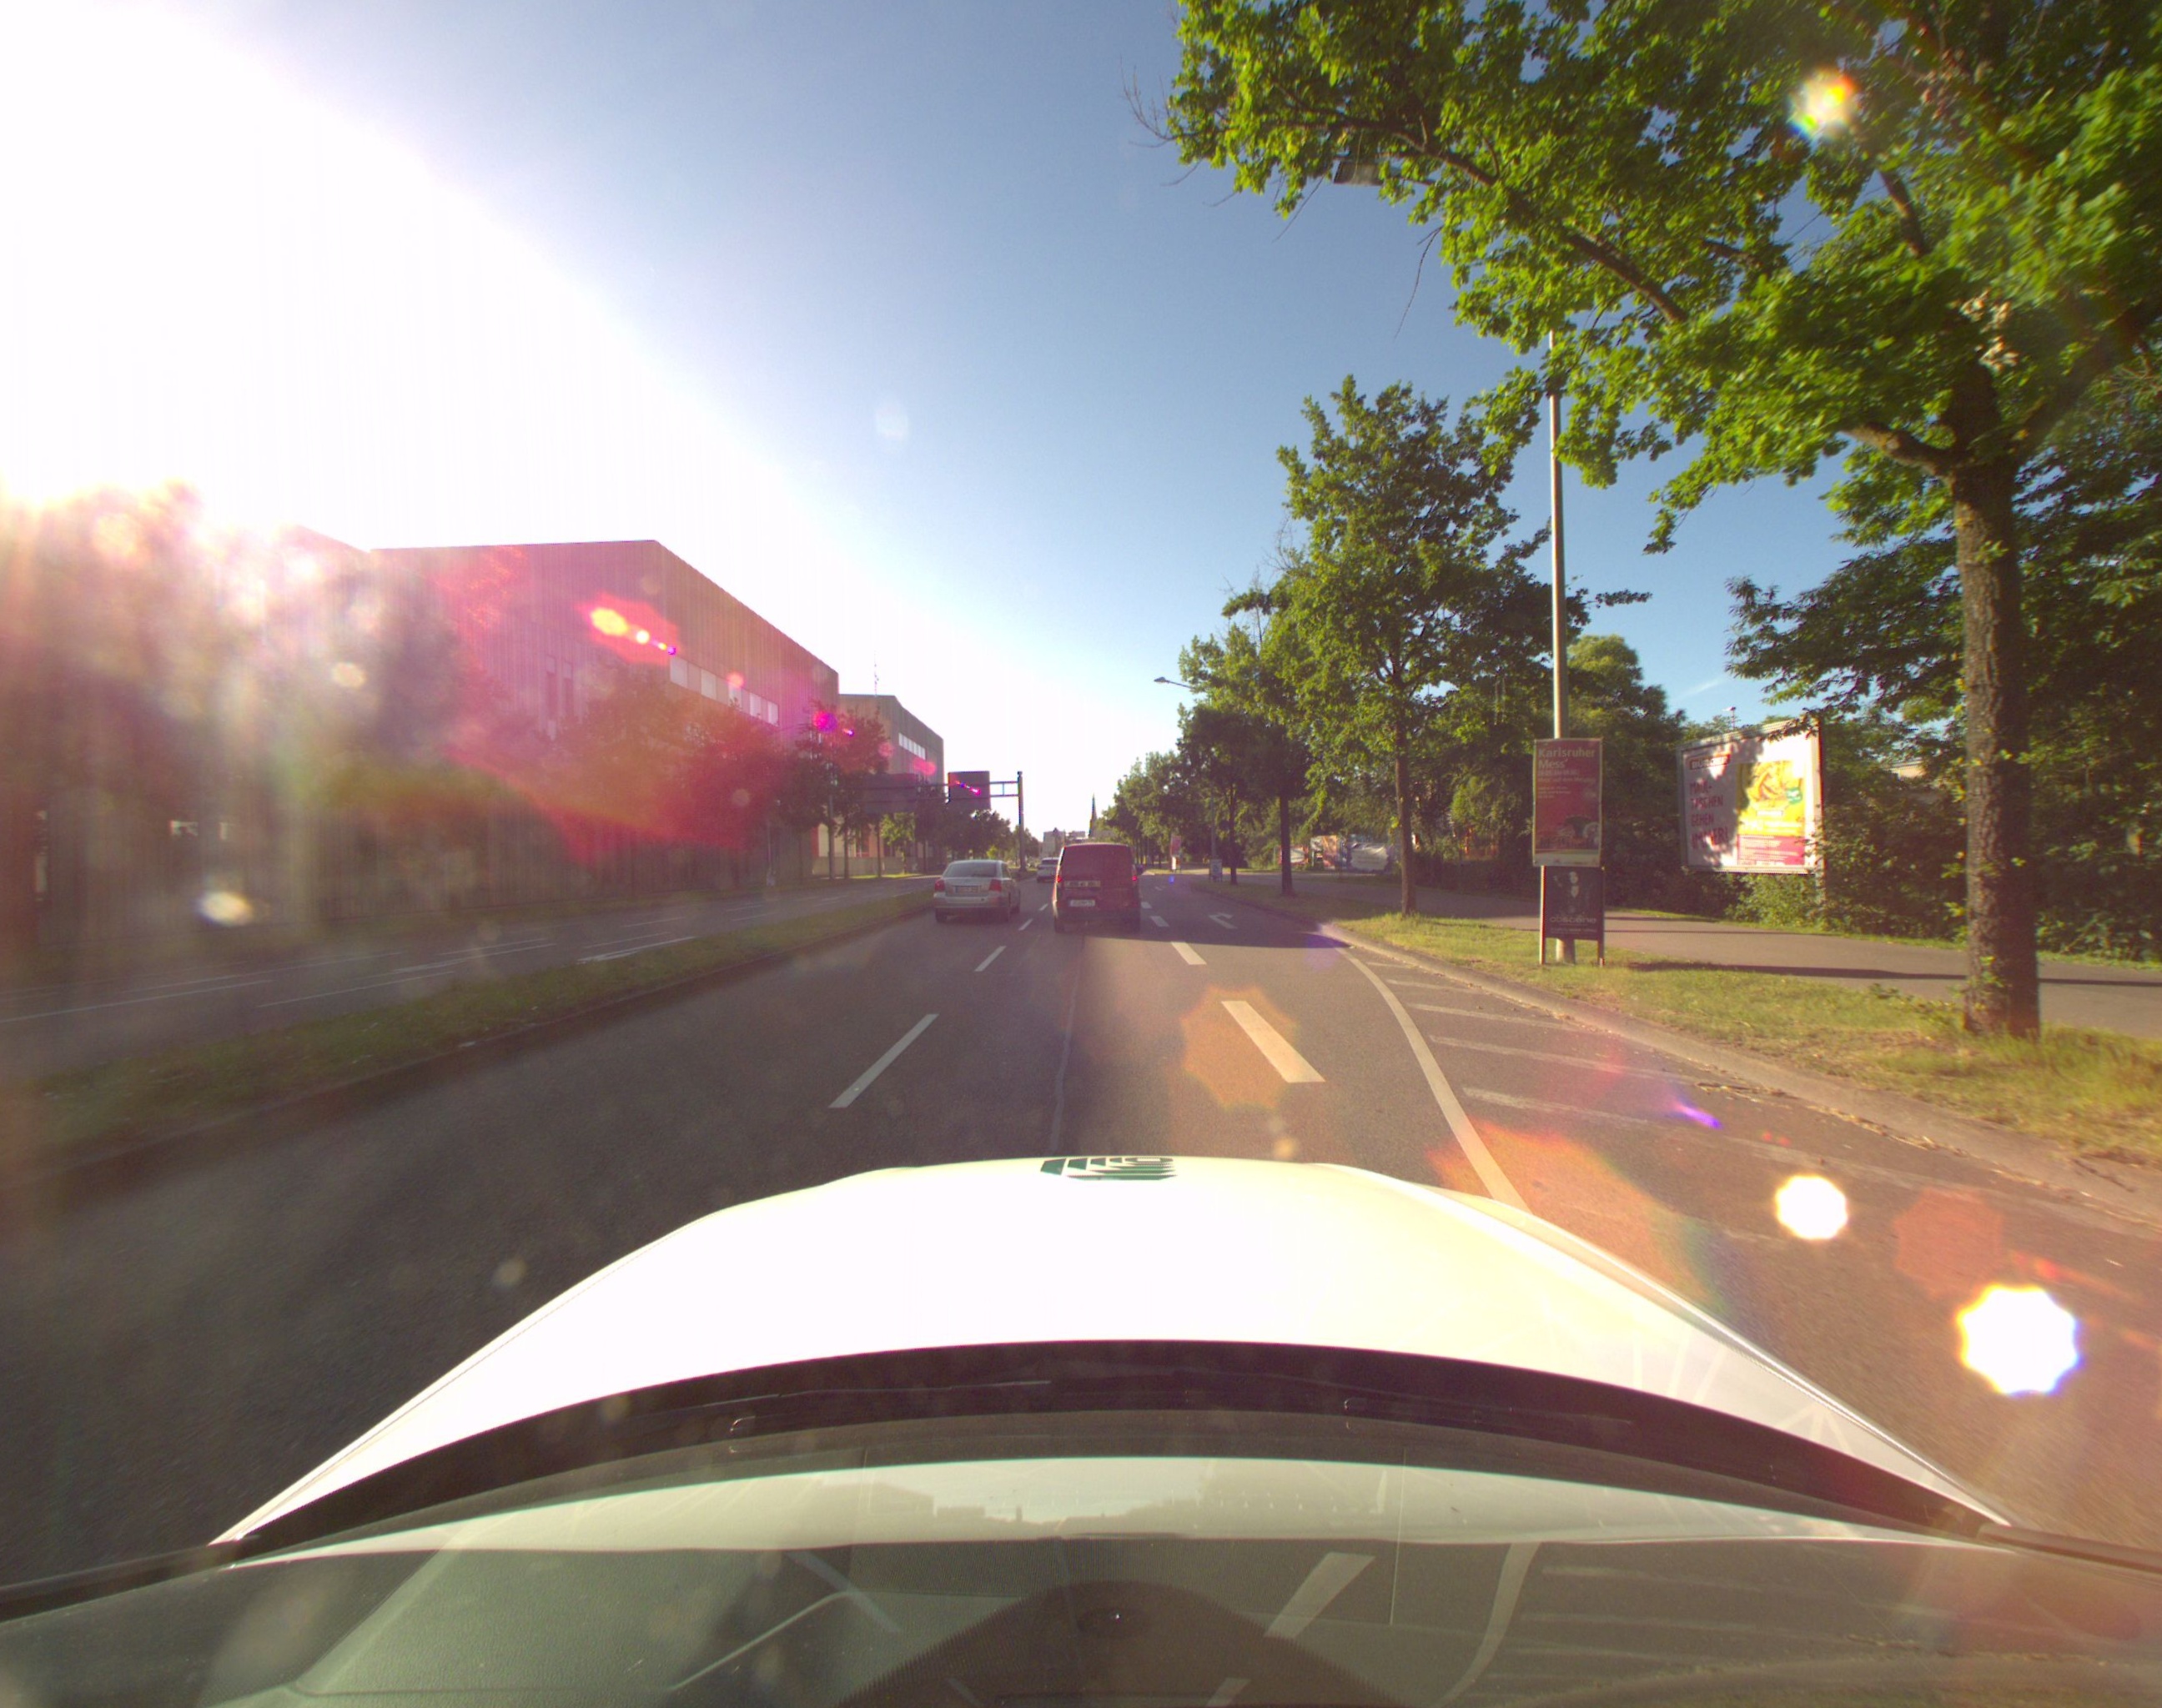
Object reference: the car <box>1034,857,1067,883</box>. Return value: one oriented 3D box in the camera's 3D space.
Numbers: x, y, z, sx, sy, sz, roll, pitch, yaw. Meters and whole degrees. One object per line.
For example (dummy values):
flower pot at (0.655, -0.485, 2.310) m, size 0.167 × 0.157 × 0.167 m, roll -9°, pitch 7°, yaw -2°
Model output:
car at (-1.745, 0.909, 47.510) m, size 1.656 × 1.398 × 3.559 m, roll -2°, pitch 0°, yaw 1°

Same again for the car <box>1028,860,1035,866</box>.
car at (-12.977, 2.303, 212.862) m, size 1.441 × 1.436 × 3.458 m, roll -2°, pitch 0°, yaw 0°

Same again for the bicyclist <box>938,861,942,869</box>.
bicyclist at (-22.579, 1.780, 130.782) m, size 0.480 × 1.395 × 0.844 m, roll -2°, pitch -1°, yaw 0°

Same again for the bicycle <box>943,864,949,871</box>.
bicycle at (-21.559, 2.164, 130.465) m, size 0.568 × 1.003 × 2.096 m, roll -2°, pitch -1°, yaw 0°

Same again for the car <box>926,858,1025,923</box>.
car at (-2.510, 0.830, 20.401) m, size 1.834 × 1.456 × 4.163 m, roll -1°, pitch 0°, yaw 1°

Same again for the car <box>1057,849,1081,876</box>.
car at (-0.868, 0.627, 61.053) m, size 1.656 × 1.856 × 3.559 m, roll -2°, pitch 0°, yaw 1°

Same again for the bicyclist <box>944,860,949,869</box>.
bicyclist at (-21.573, 1.724, 130.464) m, size 0.560 × 1.392 × 0.747 m, roll -2°, pitch -1°, yaw 0°

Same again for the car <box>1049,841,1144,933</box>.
car at (0.326, 0.645, 17.738) m, size 1.800 × 1.759 × 4.006 m, roll -1°, pitch 0°, yaw 1°
